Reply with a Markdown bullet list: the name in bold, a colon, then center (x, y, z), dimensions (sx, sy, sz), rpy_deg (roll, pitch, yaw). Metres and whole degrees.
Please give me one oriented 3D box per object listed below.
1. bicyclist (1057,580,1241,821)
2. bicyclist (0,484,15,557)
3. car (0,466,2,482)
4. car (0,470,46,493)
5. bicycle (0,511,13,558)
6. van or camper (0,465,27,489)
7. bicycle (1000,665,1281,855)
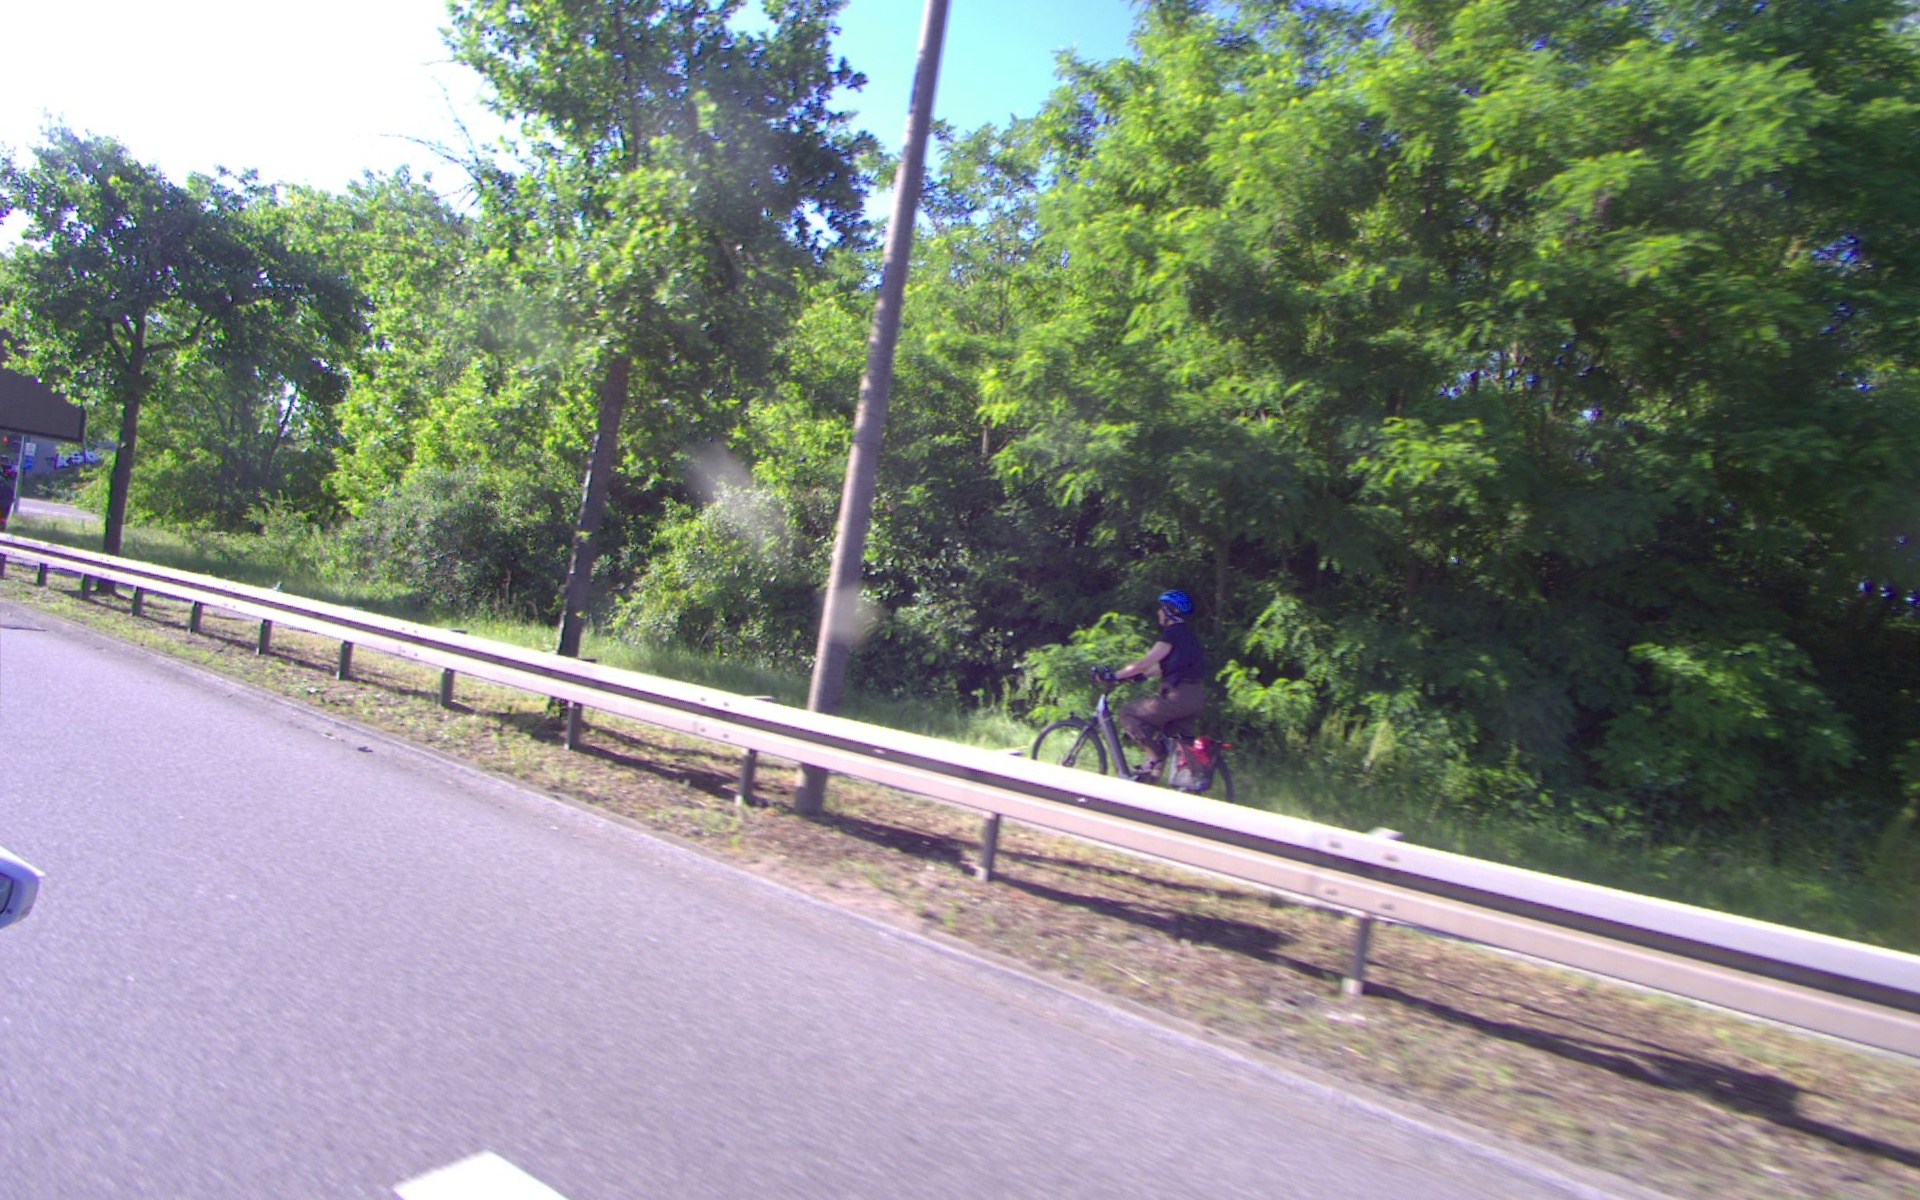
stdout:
- **bicyclist**: center (1.419, 0.719, 7.559), dimensions (0.988, 1.598, 0.707), rpy_deg (8, 2, 34)
- **bicyclist**: center (-24.738, -2.072, 25.729), dimensions (0.935, 1.799, 0.673), rpy_deg (8, 2, 43)
- **car**: center (-83.230, -10.828, 85.225), dimensions (1.693, 1.540, 3.720), rpy_deg (9, 0, -24)
- **car**: center (-81.918, -10.322, 87.969), dimensions (1.693, 1.540, 3.720), rpy_deg (9, 0, -24)
- **bicycle**: center (-24.983, -1.740, 25.915), dimensions (2.089, 1.109, 0.693), rpy_deg (8, 2, 44)
- **van or camper**: center (-86.626, -11.239, 91.080), dimensions (1.737, 1.835, 3.936), rpy_deg (9, 0, -23)
- **bicycle**: center (1.329, 1.133, 7.593), dimensions (1.891, 1.088, 0.701), rpy_deg (5, 0, 34)
